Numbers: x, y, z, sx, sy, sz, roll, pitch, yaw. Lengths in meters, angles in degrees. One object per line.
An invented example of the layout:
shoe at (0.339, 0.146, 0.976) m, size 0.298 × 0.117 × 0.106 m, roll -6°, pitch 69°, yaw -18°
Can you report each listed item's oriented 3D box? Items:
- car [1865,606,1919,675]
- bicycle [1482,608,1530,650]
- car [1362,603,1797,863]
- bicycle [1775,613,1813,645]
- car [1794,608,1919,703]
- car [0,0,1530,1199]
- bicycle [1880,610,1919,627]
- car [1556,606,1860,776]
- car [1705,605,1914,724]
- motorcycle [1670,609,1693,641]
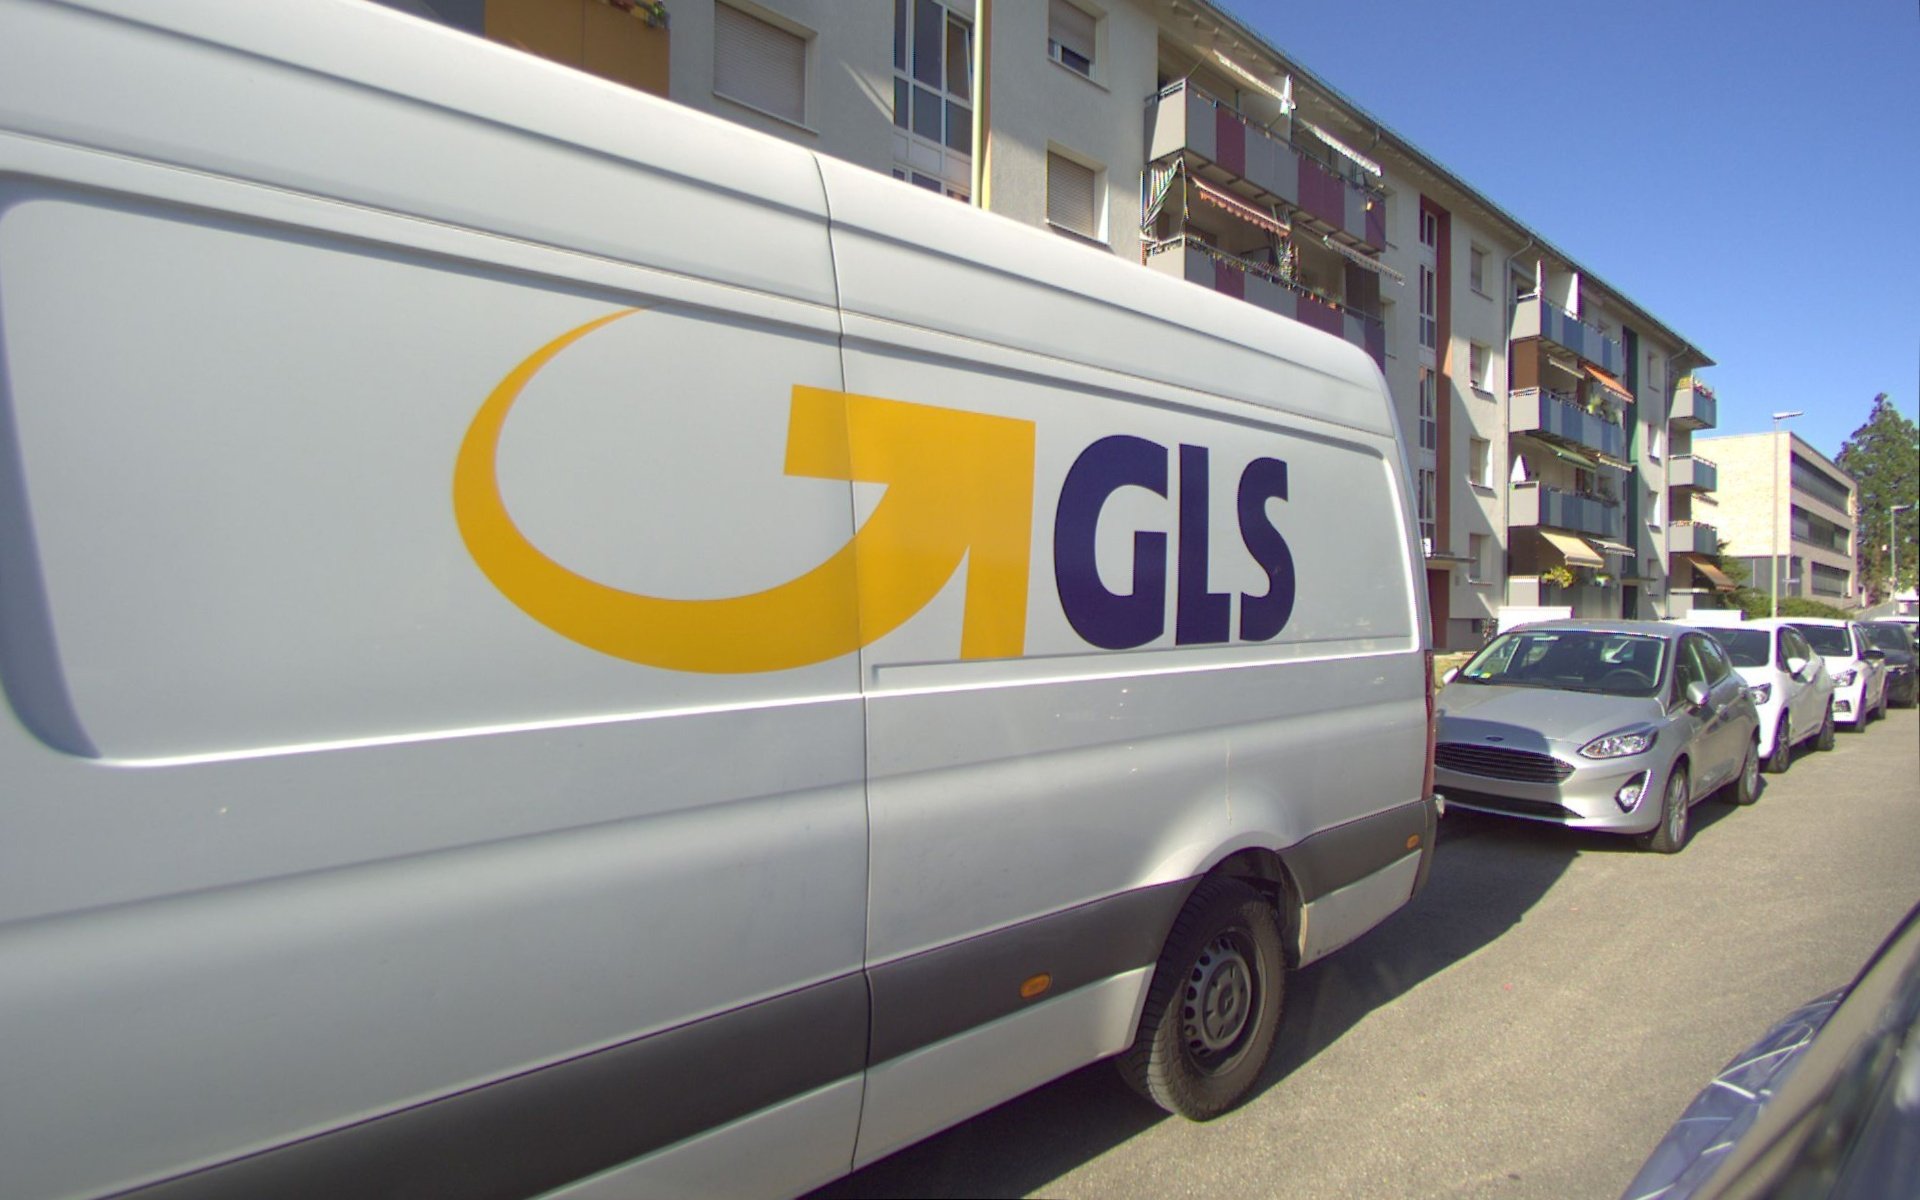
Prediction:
car at (22.544, 0.914, 23.748) m, size 3.798 × 1.518 × 1.749 m, roll 1°, pitch 0°, yaw -45°
bicycle at (14.892, 0.769, 27.584) m, size 1.975 × 1.084 × 0.524 m, roll 1°, pitch 2°, yaw -43°
car at (4.982, 0.796, 7.892) m, size 4.130 × 1.485 × 1.850 m, roll 1°, pitch -2°, yaw -43°
bicycle at (30.198, 1.040, 36.626) m, size 1.863 × 1.091 × 0.721 m, roll 1°, pitch -1°, yaw -40°
car at (16.333, 0.894, 18.037) m, size 4.396 × 1.453 × 1.701 m, roll 1°, pitch 1°, yaw -43°
car at (-0.946, 0.123, 2.790) m, size 6.720 × 2.747 × 2.147 m, roll 1°, pitch 1°, yaw -40°
bicycle at (70.176, 1.369, 75.635) m, size 0.867 × 1.076 × 2.028 m, roll 1°, pitch 2°, yaw -42°
car at (8.298, 0.829, 11.096) m, size 4.068 × 1.494 × 1.881 m, roll 1°, pitch 0°, yaw -41°
car at (12.291, 0.817, 14.555) m, size 4.080 × 1.454 × 1.724 m, roll 1°, pitch 0°, yaw -41°
motorcycle at (27.891, 0.947, 39.118) m, size 0.582 × 1.166 × 2.008 m, roll 0°, pitch 0°, yaw 39°
